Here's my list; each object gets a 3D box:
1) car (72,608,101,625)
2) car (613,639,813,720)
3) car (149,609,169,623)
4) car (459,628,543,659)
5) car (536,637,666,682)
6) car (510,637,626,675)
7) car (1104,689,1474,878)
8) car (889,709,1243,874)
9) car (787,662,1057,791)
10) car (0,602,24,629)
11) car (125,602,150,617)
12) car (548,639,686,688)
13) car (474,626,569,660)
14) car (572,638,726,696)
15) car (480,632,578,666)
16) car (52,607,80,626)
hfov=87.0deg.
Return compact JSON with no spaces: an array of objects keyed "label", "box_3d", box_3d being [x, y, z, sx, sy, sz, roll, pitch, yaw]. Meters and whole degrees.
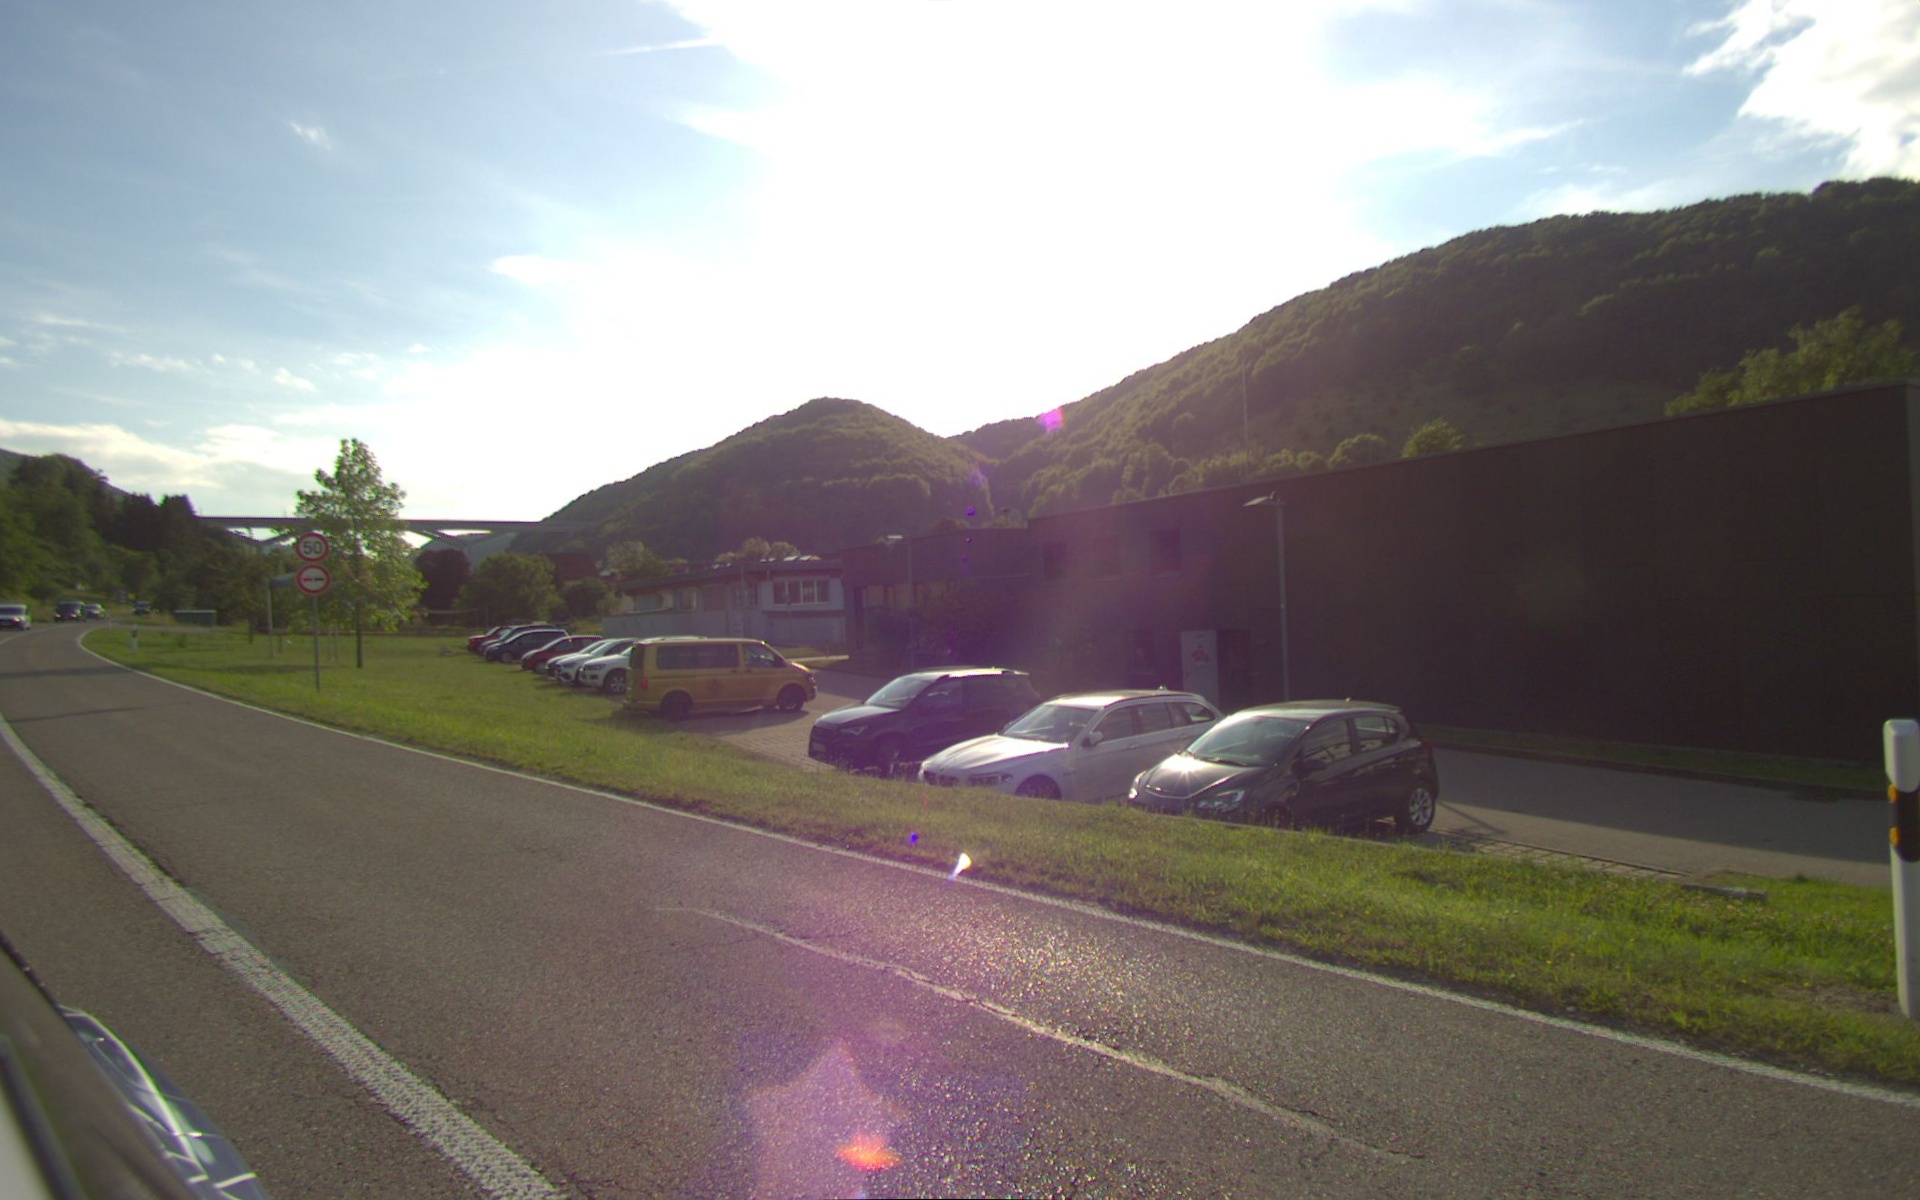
[{"label":"car","box_3d":[-91.722,1.768,106.322,1.967,1.730,4.009,0,-1,-36]},{"label":"car","box_3d":[-6.256,1.941,25.767,4.583,1.827,2.006,1,-2,-30]},{"label":"car","box_3d":[-113.353,2.223,143.222,1.881,1.918,4.011,0,0,-34]},{"label":"car","box_3d":[-27.373,2.547,60.352,4.371,1.733,2.006,1,-2,-31]},{"label":"car","box_3d":[-13.806,2.249,38.961,4.371,1.595,2.006,1,-2,-32]},{"label":"car","box_3d":[-16.681,2.348,43.112,4.370,1.463,2.006,0,-2,-30]},{"label":"car","box_3d":[3.751,1.903,11.434,3.932,1.546,1.839,1,-2,-31]},{"label":"car","box_3d":[1.505,2.399,13.598,4.577,1.508,1.918,1,-2,-34]},{"label":"car","box_3d":[-0.600,2.044,17.350,4.226,1.650,1.917,-2,0,-35]},{"label":"car","box_3d":[-65.748,1.079,69.526,1.771,1.749,4.291,0,-1,-38]},{"label":"car","box_3d":[-107.394,1.226,132.185,1.880,1.918,4.012,0,0,-30]},{"label":"car","box_3d":[-12.182,2.212,35.991,4.370,1.599,2.006,1,-2,-30]},{"label":"car","box_3d":[-24.269,2.330,56.015,4.595,1.776,2.006,1,-2,-31]},{"label":"car","box_3d":[-10.161,2.131,33.118,4.477,1.714,2.006,1,-2,-30]},{"label":"car","box_3d":[-22.027,2.470,51.741,4.371,1.595,2.006,-1,-1,-31]},{"label":"car","box_3d":[-83.777,1.566,94.864,1.652,1.659,3.353,-1,-2,-36]}]
